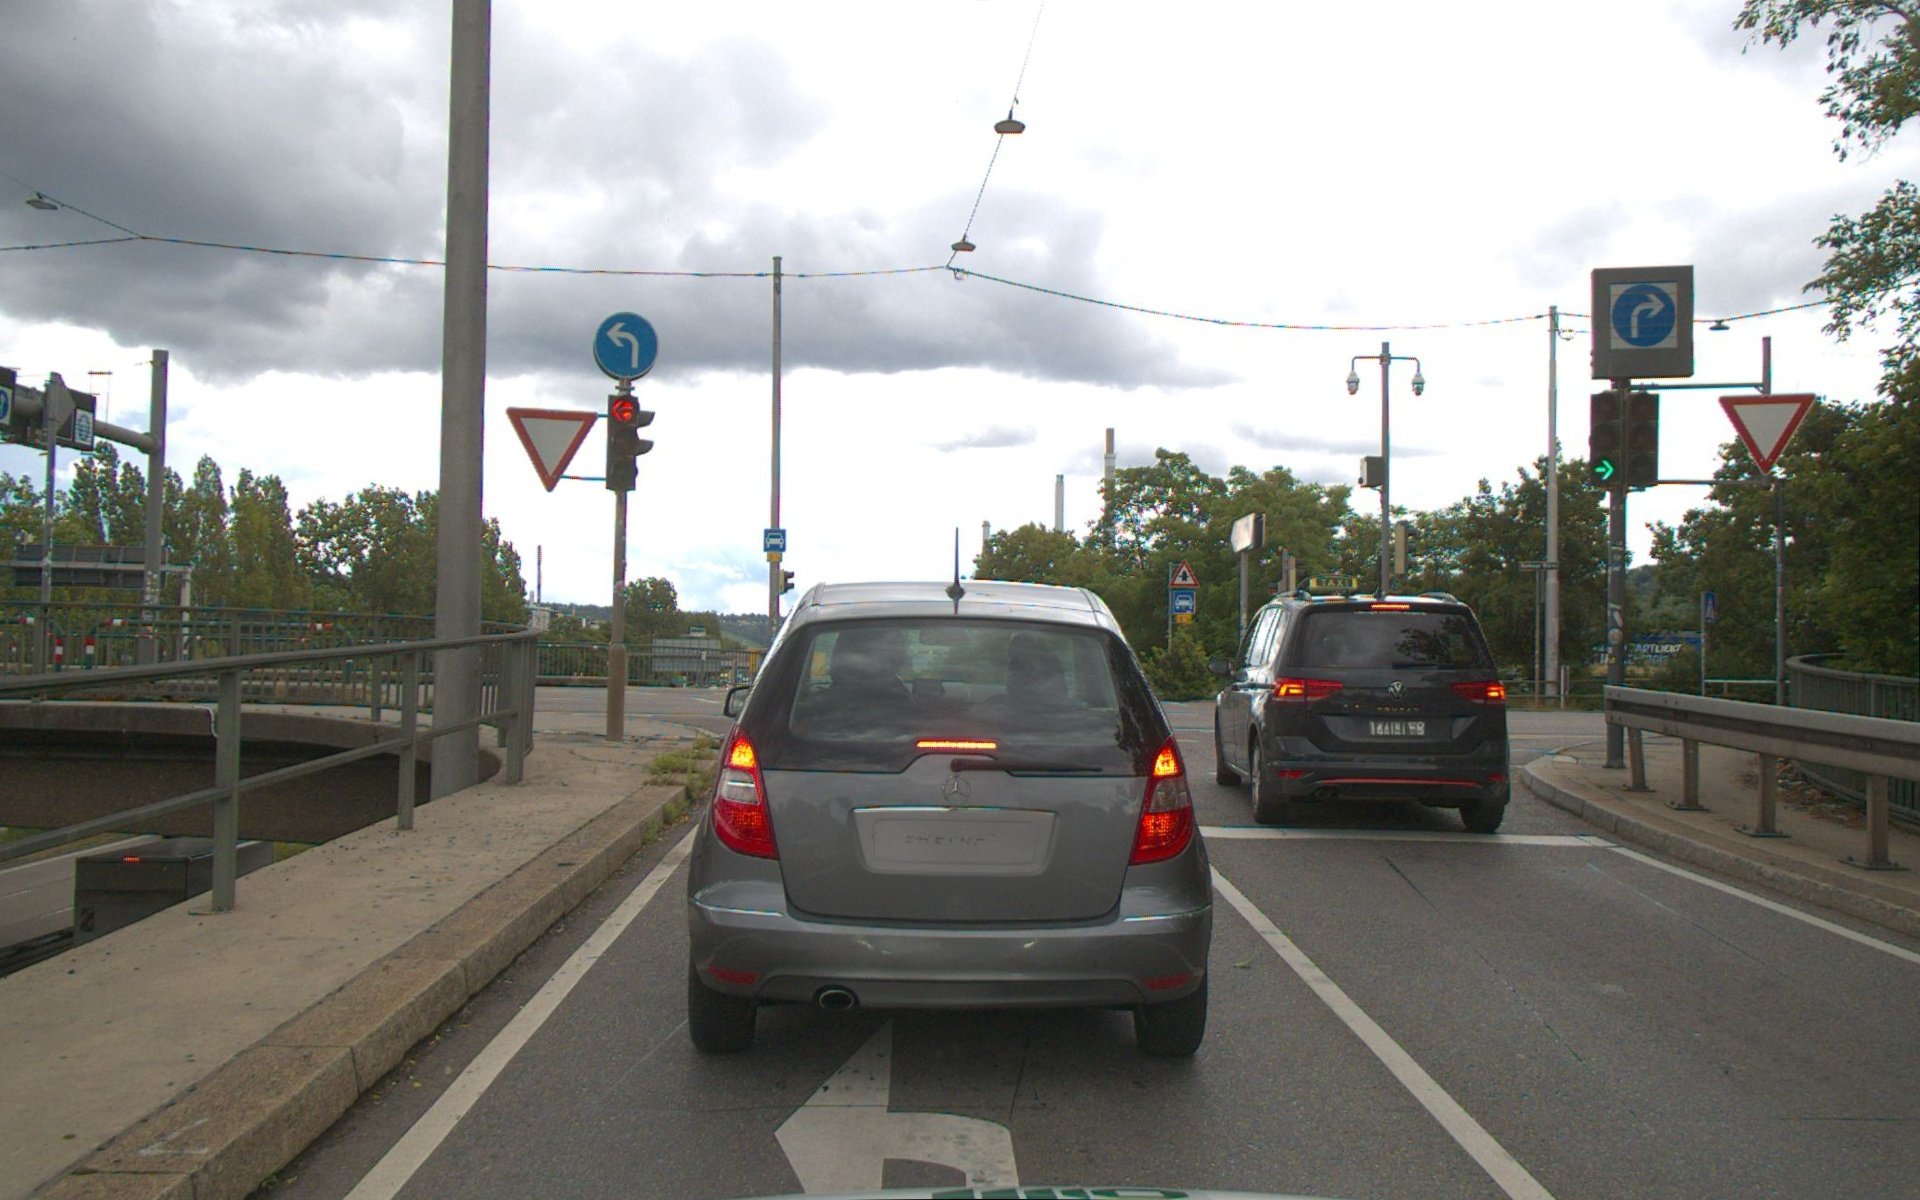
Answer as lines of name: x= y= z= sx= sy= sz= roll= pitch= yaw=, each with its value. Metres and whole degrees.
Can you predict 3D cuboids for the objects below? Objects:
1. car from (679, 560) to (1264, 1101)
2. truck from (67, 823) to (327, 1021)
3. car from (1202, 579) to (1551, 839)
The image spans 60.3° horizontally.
car: x=0.018 y=0.688 z=6.653 sx=1.704 sy=1.570 sz=3.540 roll=1 pitch=0 yaw=-1
truck: x=-15.936 y=6.633 z=35.174 sx=2.188 sy=3.062 sz=7.229 roll=0 pitch=-2 yaw=-1
car: x=3.045 y=0.725 z=12.969 sx=1.759 sy=1.682 sz=4.151 roll=1 pitch=0 yaw=1
